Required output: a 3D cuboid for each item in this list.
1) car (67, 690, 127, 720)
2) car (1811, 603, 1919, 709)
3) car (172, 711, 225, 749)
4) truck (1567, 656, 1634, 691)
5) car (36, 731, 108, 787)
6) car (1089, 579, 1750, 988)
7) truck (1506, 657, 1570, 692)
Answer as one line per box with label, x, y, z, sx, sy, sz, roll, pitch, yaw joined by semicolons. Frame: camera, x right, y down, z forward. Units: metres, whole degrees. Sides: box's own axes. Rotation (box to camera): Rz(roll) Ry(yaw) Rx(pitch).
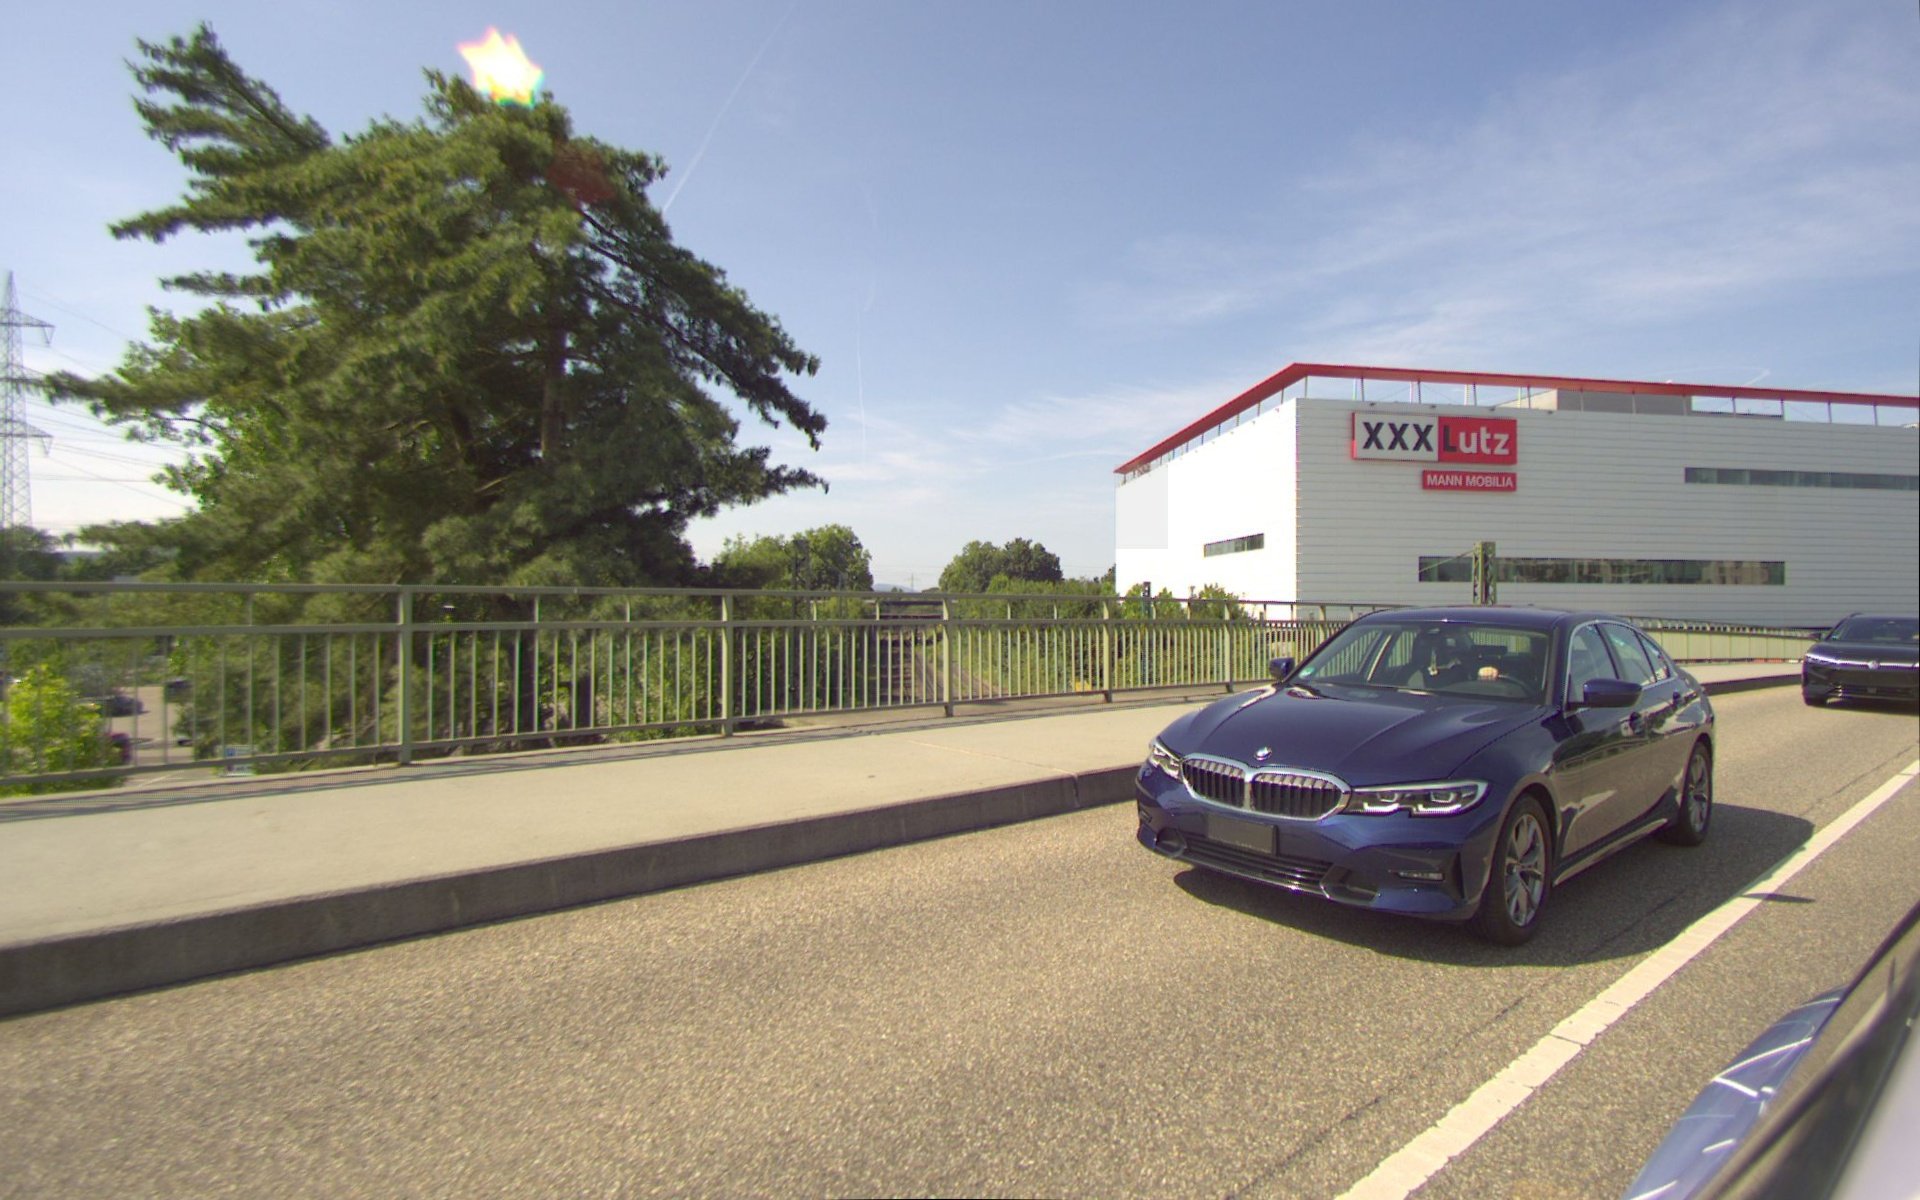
car;-64.269;7.804;75.453;1.958;1.746;4.008;0;0;-17
car;15.337;0.863;16.406;4.073;1.549;1.858;1;-2;-43
car;-45.011;7.669;59.885;1.734;1.638;4.007;0;0;-26
truck;61.646;7.064;97.567;2.088;2.964;6.019;0;-1;-8
car;-42.431;7.556;48.464;1.961;1.913;4.002;0;0;-32
car;2.905;0.674;5.858;4.440;1.502;1.790;0;0;-41
truck;54.908;7.021;96.296;2.088;2.964;6.019;0;-1;-8
